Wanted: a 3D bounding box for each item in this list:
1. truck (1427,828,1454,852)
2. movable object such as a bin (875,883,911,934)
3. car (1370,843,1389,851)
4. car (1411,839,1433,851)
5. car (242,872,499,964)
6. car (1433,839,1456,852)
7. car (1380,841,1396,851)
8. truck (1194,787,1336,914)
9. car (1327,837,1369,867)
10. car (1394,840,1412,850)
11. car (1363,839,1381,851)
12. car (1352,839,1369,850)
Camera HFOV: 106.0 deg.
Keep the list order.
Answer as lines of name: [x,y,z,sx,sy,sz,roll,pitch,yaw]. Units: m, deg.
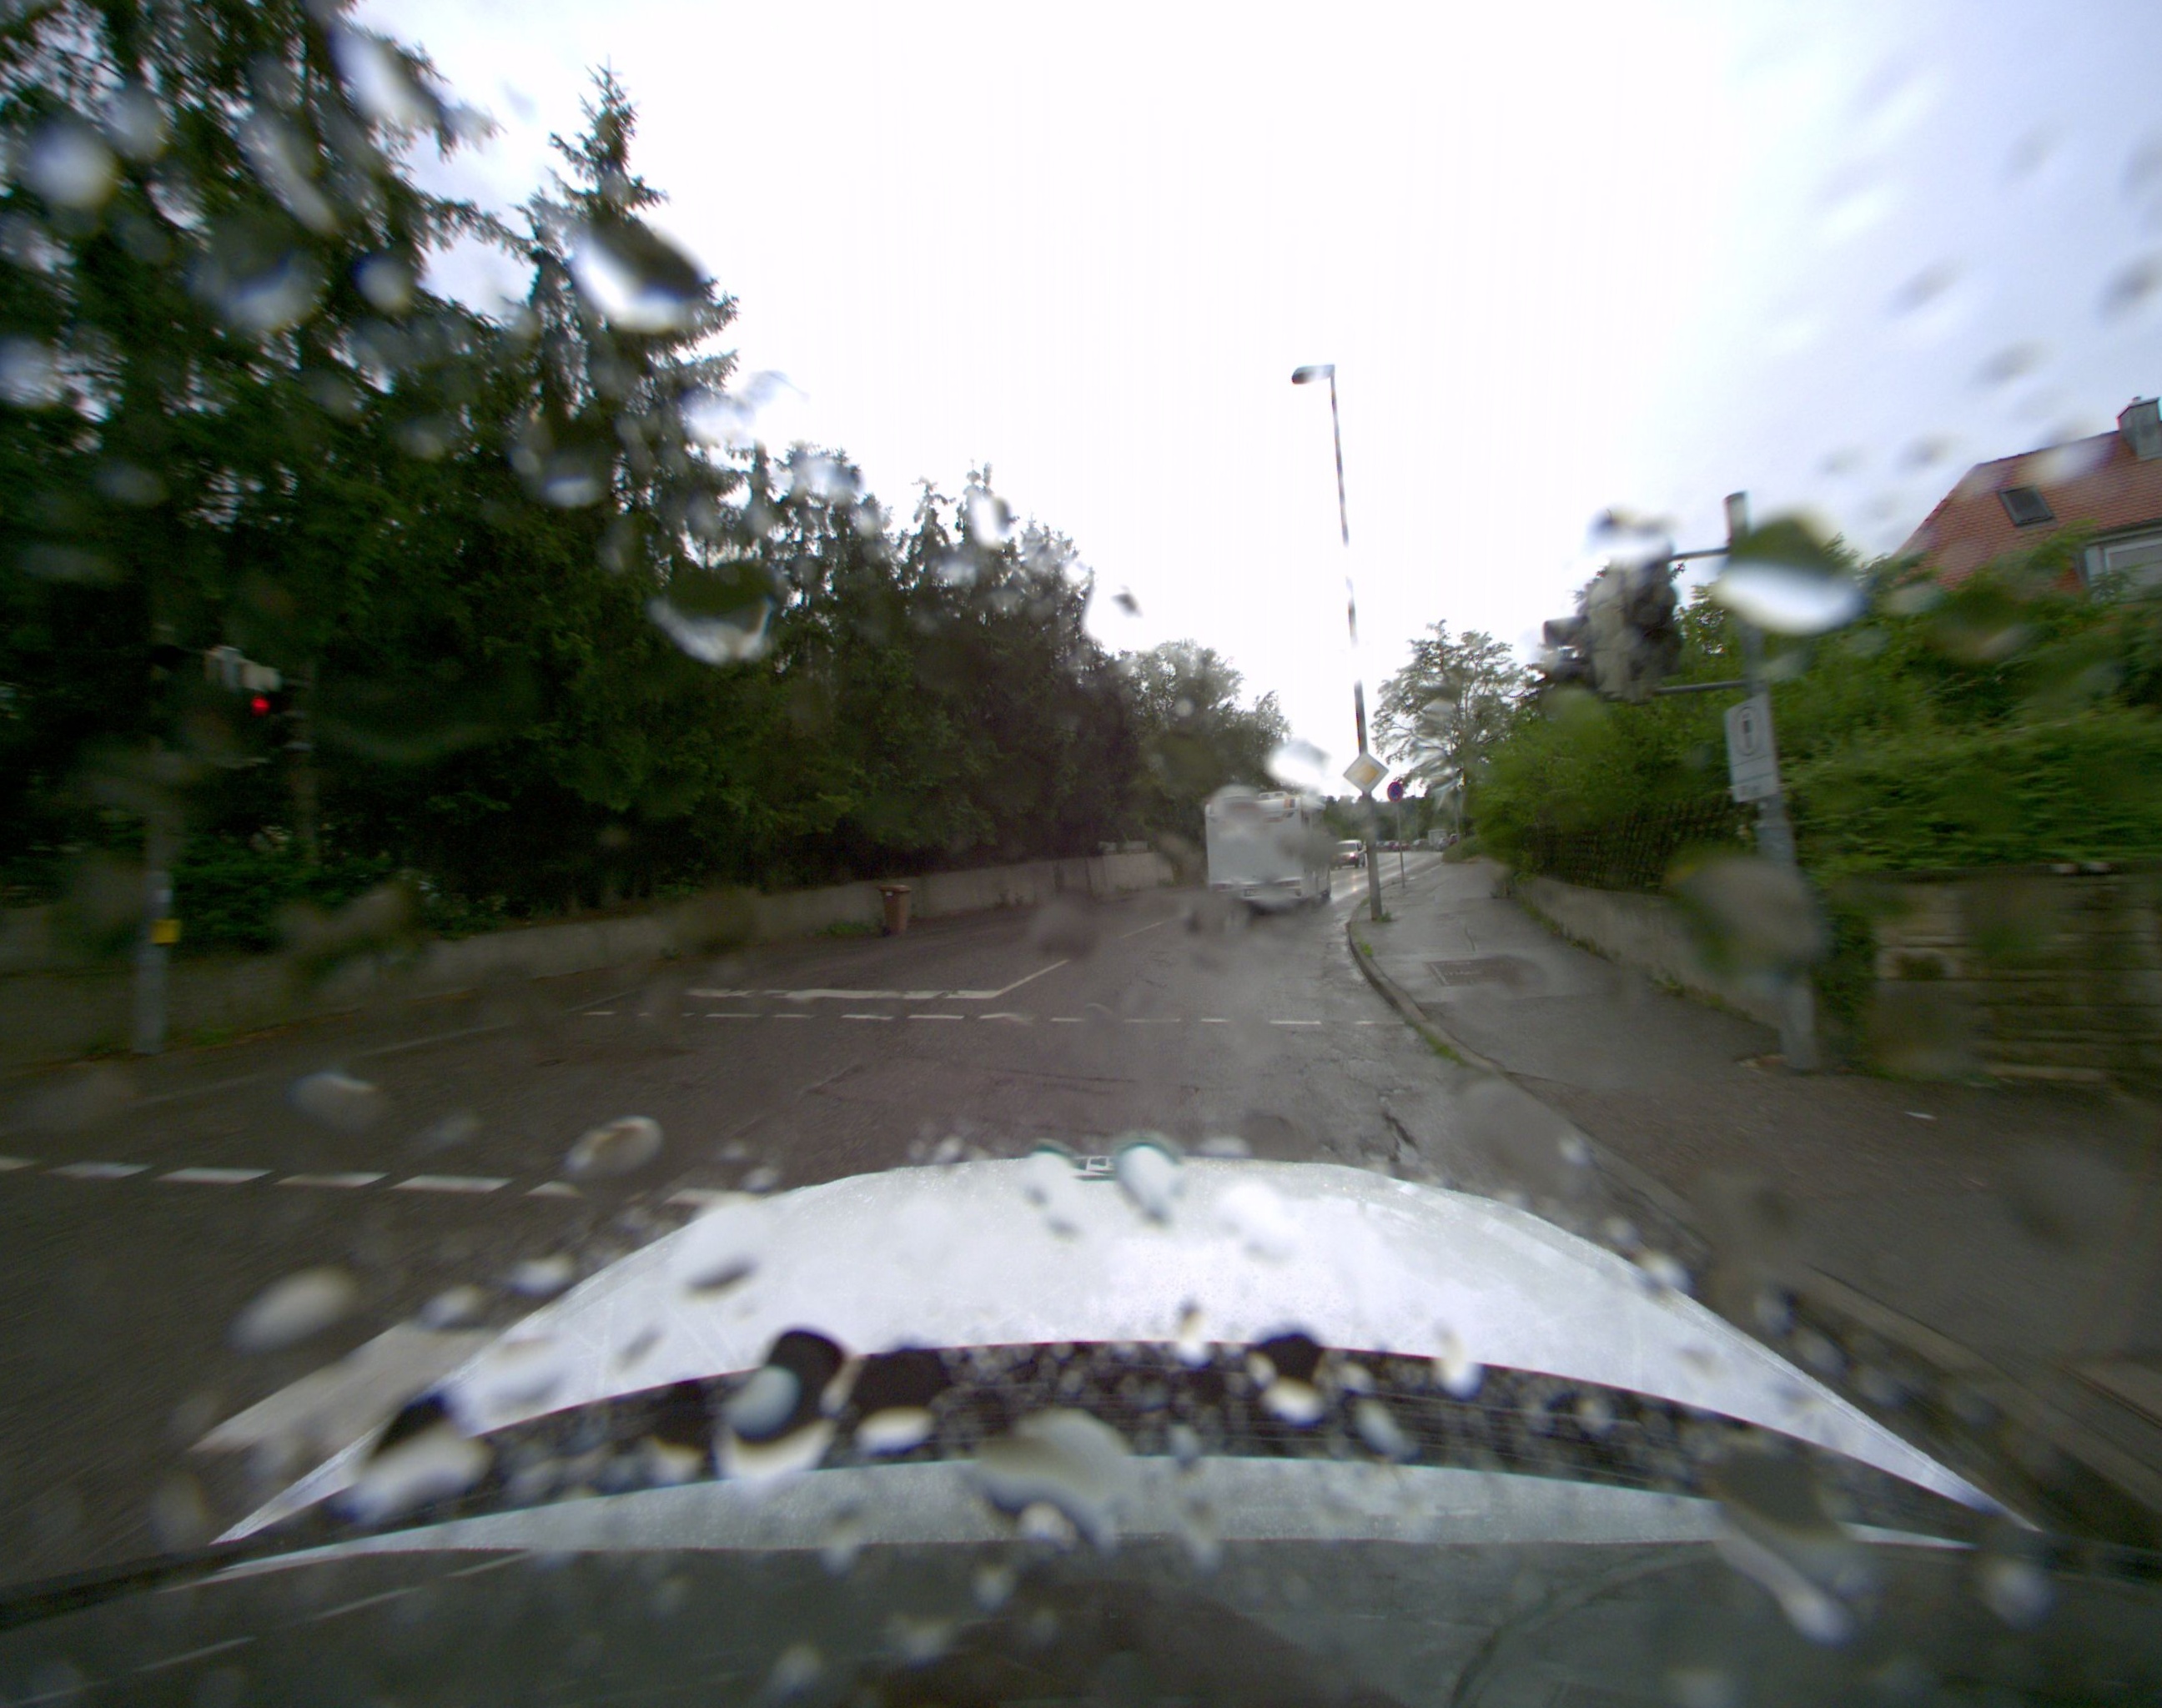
truck: [41.519,-1.559,94.164,1.979,2.573,4.851,-3,0,13]
movable object such as a bin: [-3.716,1.069,16.116,0.496,0.979,0.492,0,0,19]
car: [46.370,-1.089,126.738,1.639,1.100,4.003,-3,0,3]
car: [43.440,-1.096,103.746,1.678,1.464,3.392,-3,0,7]
car: [-15.214,1.262,17.604,1.685,1.586,4.024,-1,1,44]
car: [39.325,-0.946,88.084,1.529,1.326,4.015,-3,0,14]
car: [45.680,-1.165,121.297,1.530,1.327,4.011,1,-2,10]
truck: [5.048,-0.087,21.399,2.493,2.817,6.235,-2,0,23]
car: [17.318,-0.144,52.672,1.822,1.755,4.448,-2,0,28]
car: [45.796,-1.222,115.975,1.532,1.327,3.872,0,-1,7]
car: [47.204,-1.435,132.193,1.639,1.721,4.002,0,-1,3]
car: [47.462,-1.597,138.371,1.639,1.721,4.002,0,-1,3]
